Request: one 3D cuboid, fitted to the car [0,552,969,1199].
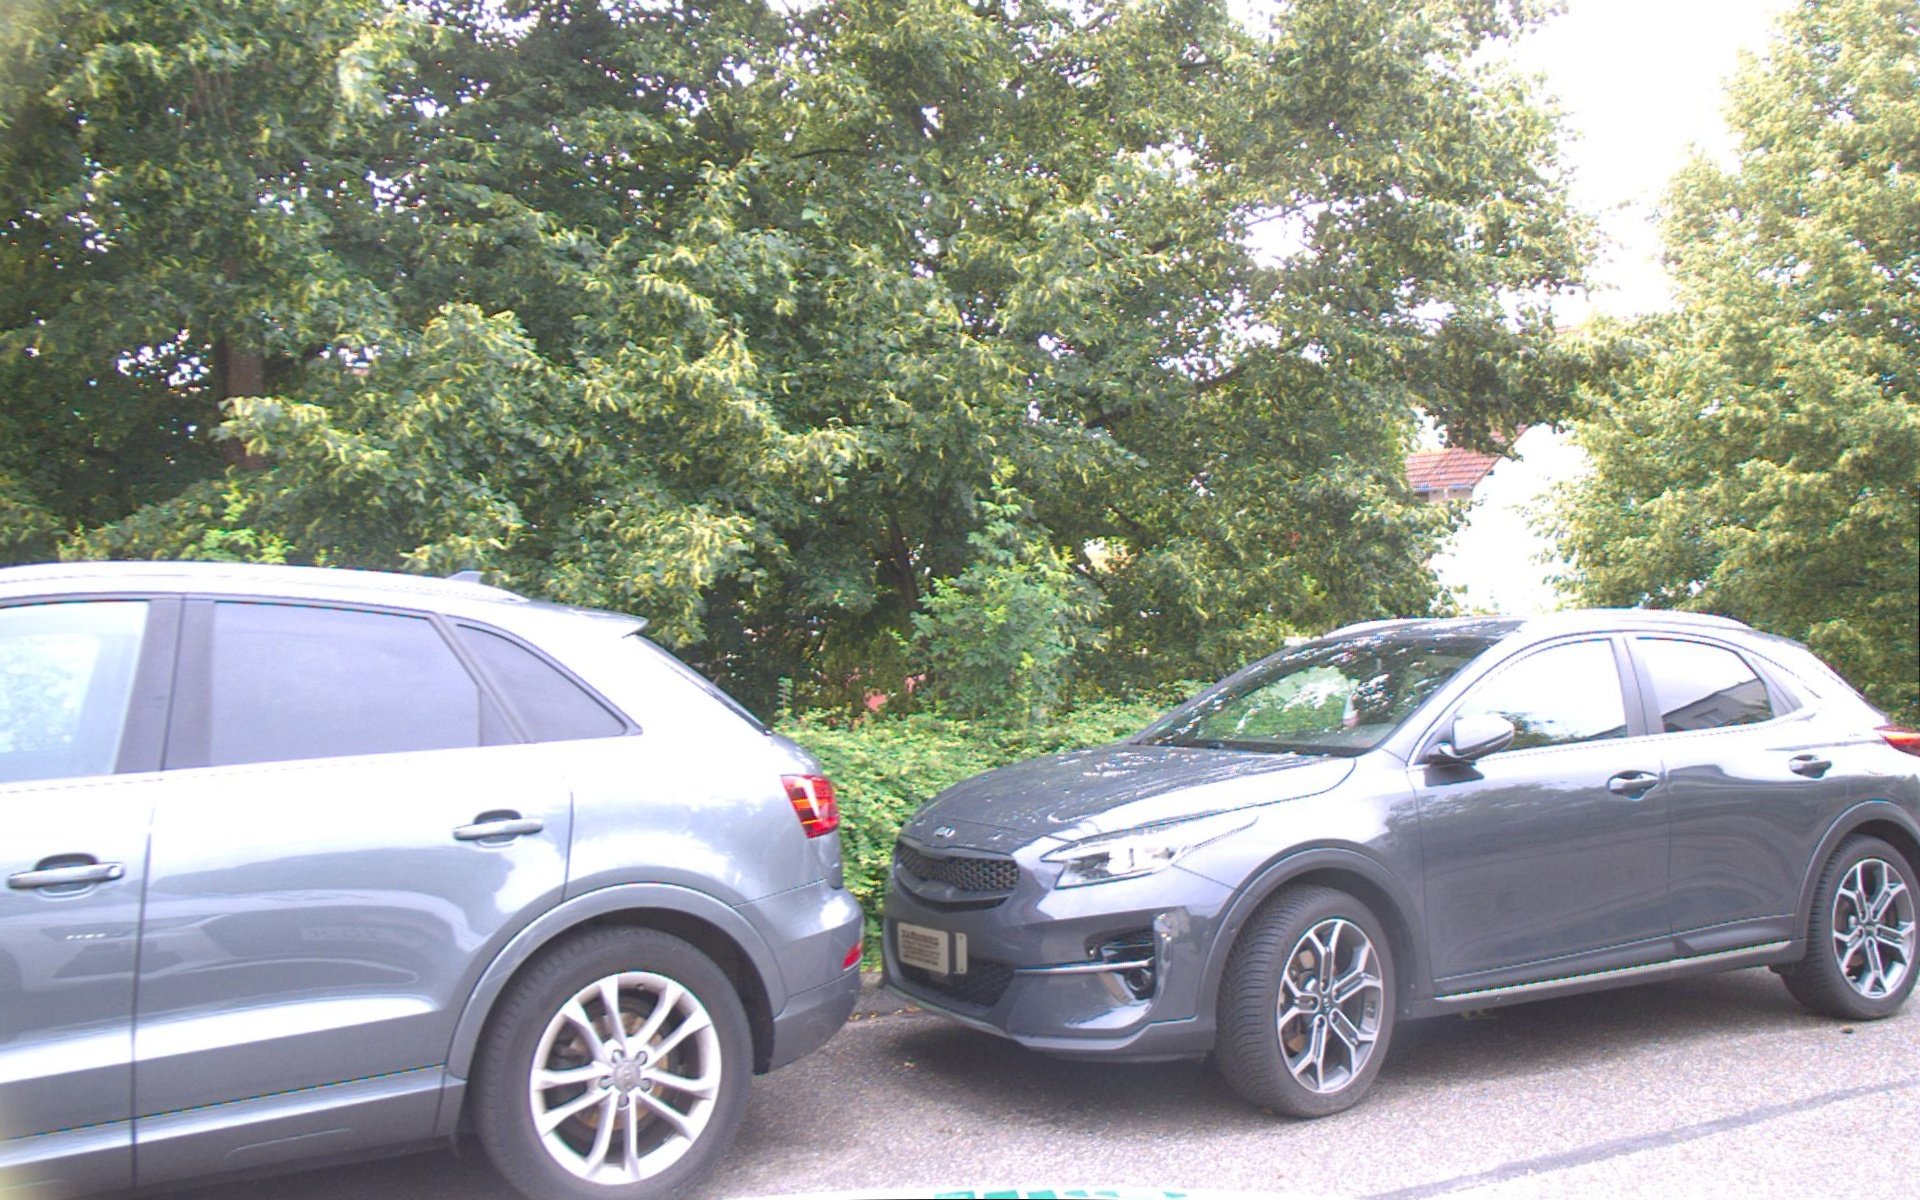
[{"bbox_3d":[-2.197,0.713,3.909,4.197,1.558,1.728,0,-2,-33],"label":"car"}]

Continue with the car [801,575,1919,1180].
[{"bbox_3d":[1.657,0.742,6.025,4.133,1.558,1.731,0,-2,-28],"label":"car"}]
